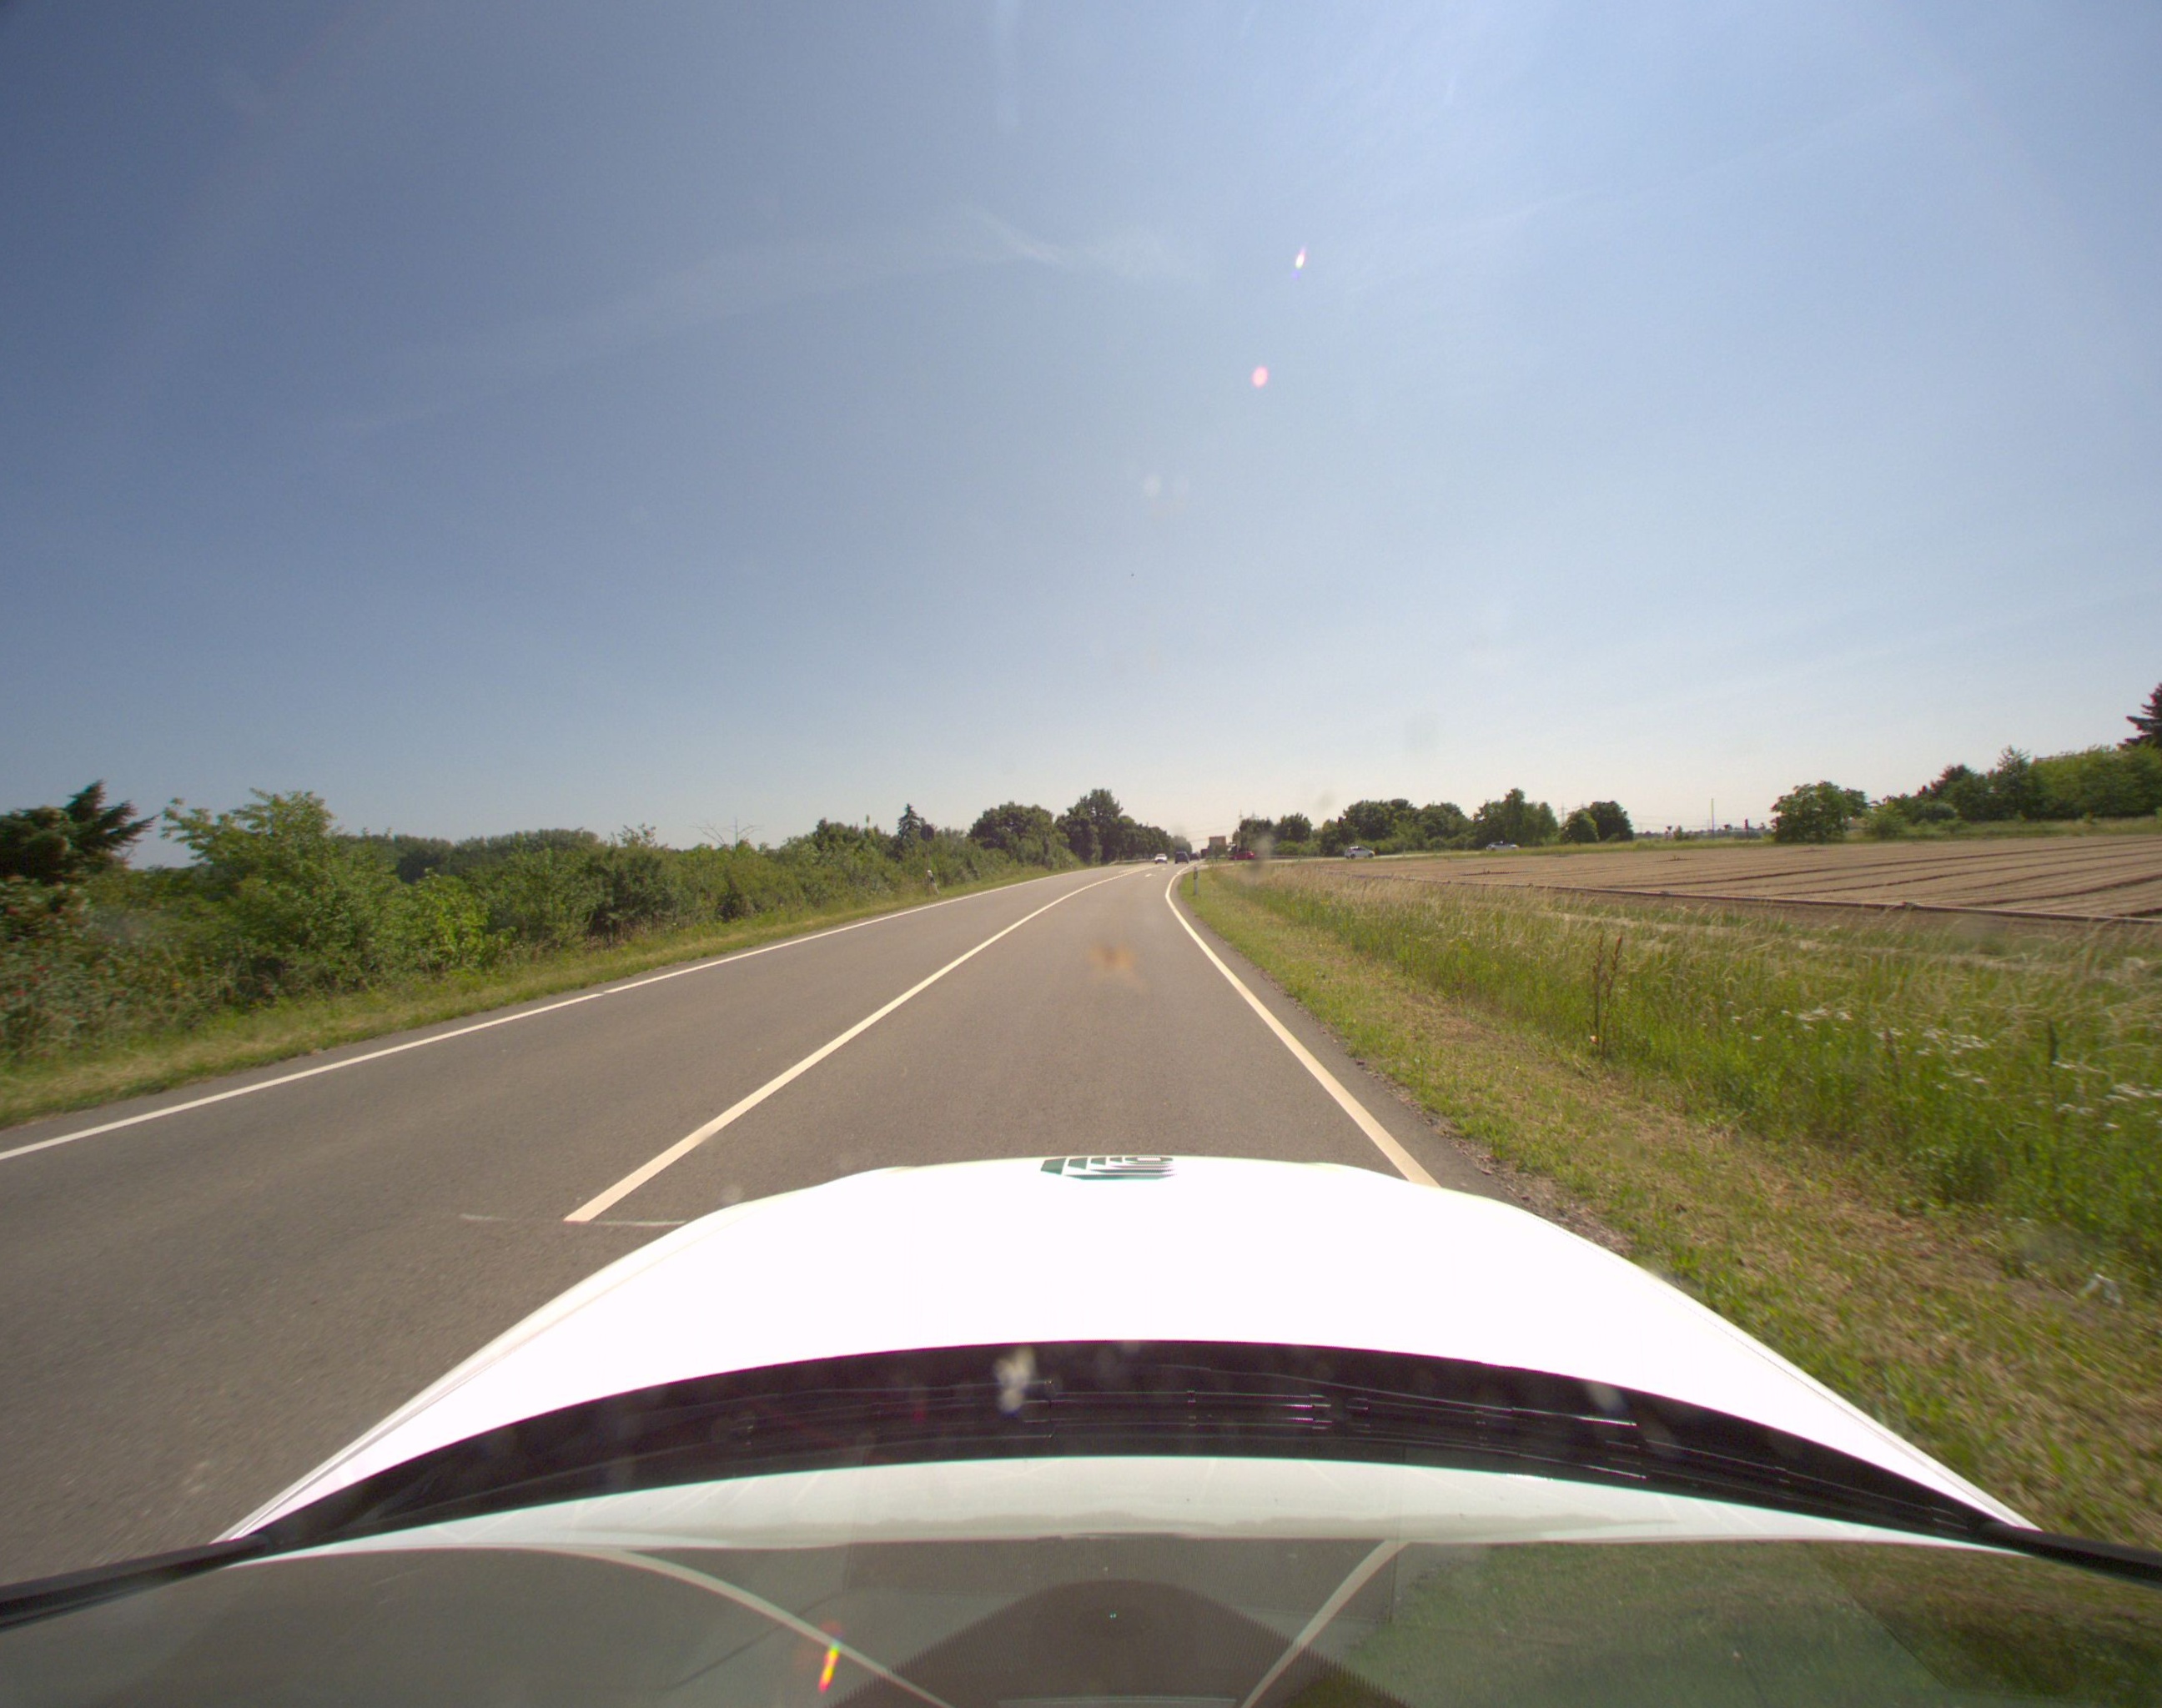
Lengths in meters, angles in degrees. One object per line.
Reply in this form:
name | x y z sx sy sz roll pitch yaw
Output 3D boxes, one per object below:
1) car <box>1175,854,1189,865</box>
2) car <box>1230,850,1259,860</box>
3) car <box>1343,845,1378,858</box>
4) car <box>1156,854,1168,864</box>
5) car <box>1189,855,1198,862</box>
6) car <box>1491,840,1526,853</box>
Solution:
car | 14.625 0.746 117.574 1.874 1.518 4.049 -1 0 8
car | 25.131 0.191 125.092 4.116 1.418 1.789 -2 -1 23
car | 38.672 -0.293 112.711 4.120 1.623 2.068 -2 0 -4
car | 12.626 0.772 126.935 1.826 1.418 4.723 -1 0 6
car | 21.183 0.824 153.103 1.634 1.341 4.049 -1 0 8
car | 57.703 -0.978 110.023 3.952 1.623 1.653 -3 -1 22
